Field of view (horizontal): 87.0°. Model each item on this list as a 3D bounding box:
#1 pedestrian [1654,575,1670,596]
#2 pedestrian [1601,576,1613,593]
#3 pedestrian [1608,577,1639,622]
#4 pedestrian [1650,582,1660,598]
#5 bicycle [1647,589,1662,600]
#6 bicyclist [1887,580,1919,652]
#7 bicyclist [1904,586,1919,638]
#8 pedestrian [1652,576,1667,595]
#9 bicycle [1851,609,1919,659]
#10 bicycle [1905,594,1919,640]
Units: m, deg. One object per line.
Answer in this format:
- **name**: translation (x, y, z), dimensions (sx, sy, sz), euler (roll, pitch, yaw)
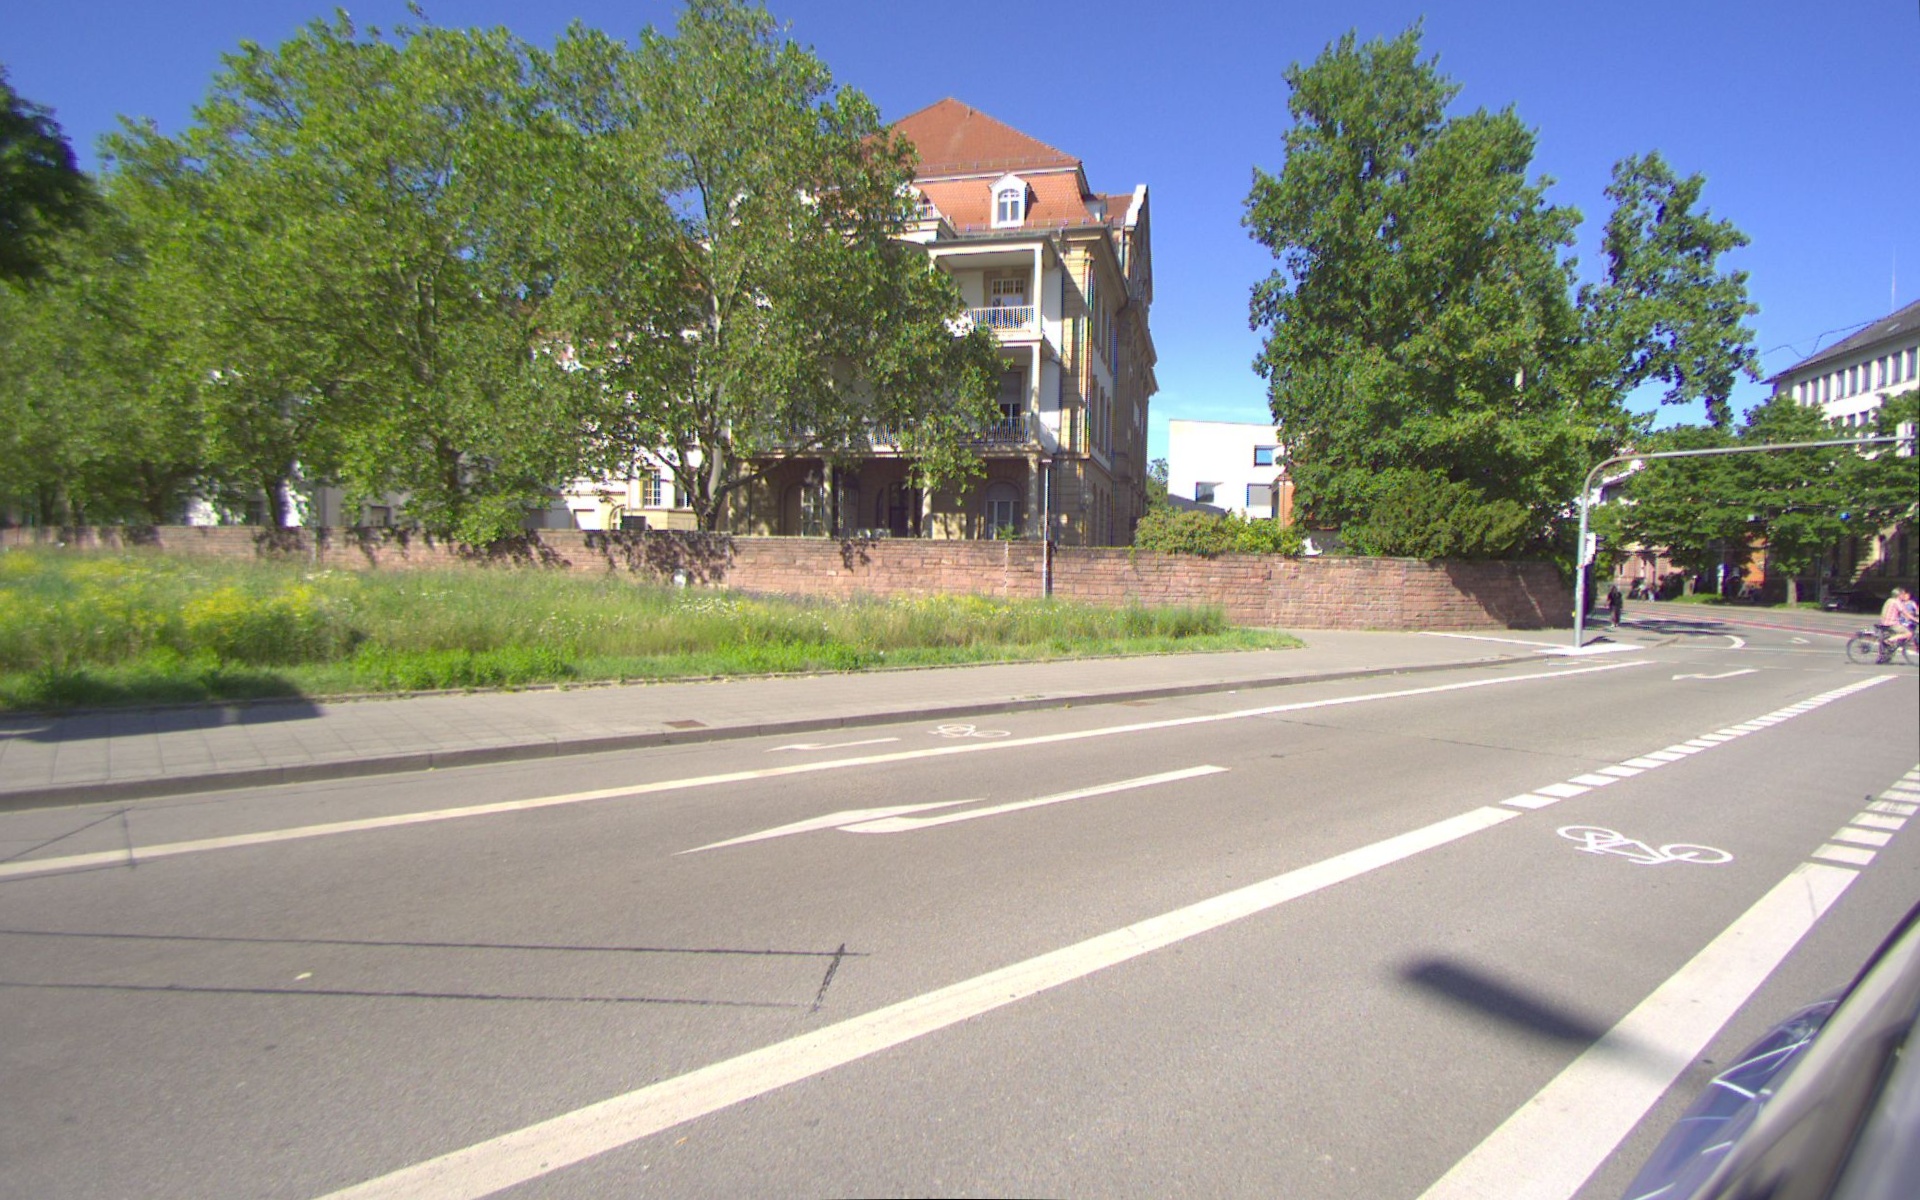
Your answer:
- **pedestrian**: translation (65.175, -1.348, 93.949), dimensions (0.745, 1.835, 0.978), euler (1, 1, 9)
- **pedestrian**: translation (69.896, -1.707, 109.326), dimensions (0.745, 1.835, 0.978), euler (1, 1, 10)
- **pedestrian**: translation (26.608, -0.047, 40.597), dimensions (0.935, 1.742, 0.983), euler (2, 2, 37)
- **pedestrian**: translation (62.349, -0.914, 90.838), dimensions (0.589, 1.420, 0.641), euler (0, 0, 21)
- **bicycle**: translation (62.304, -0.510, 90.779), dimensions (0.593, 1.019, 1.975), euler (0, 1, 20)
- **bicyclist**: translation (21.714, 0.353, 23.001), dimensions (0.771, 1.626, 0.715), euler (1, 1, 29)
- **bicyclist**: translation (30.320, 0.375, 31.801), dimensions (0.866, 1.579, 1.261), euler (2, 2, 41)
- **pedestrian**: translation (66.778, -1.385, 96.620), dimensions (0.742, 1.836, 0.981), euler (3, -3, -30)
- **bicycle**: translation (21.617, 0.775, 23.055), dimensions (1.868, 1.083, 0.717), euler (1, 1, 30)
- **bicycle**: translation (30.403, 0.525, 31.883), dimensions (0.759, 1.385, 2.698), euler (2, 2, 40)
